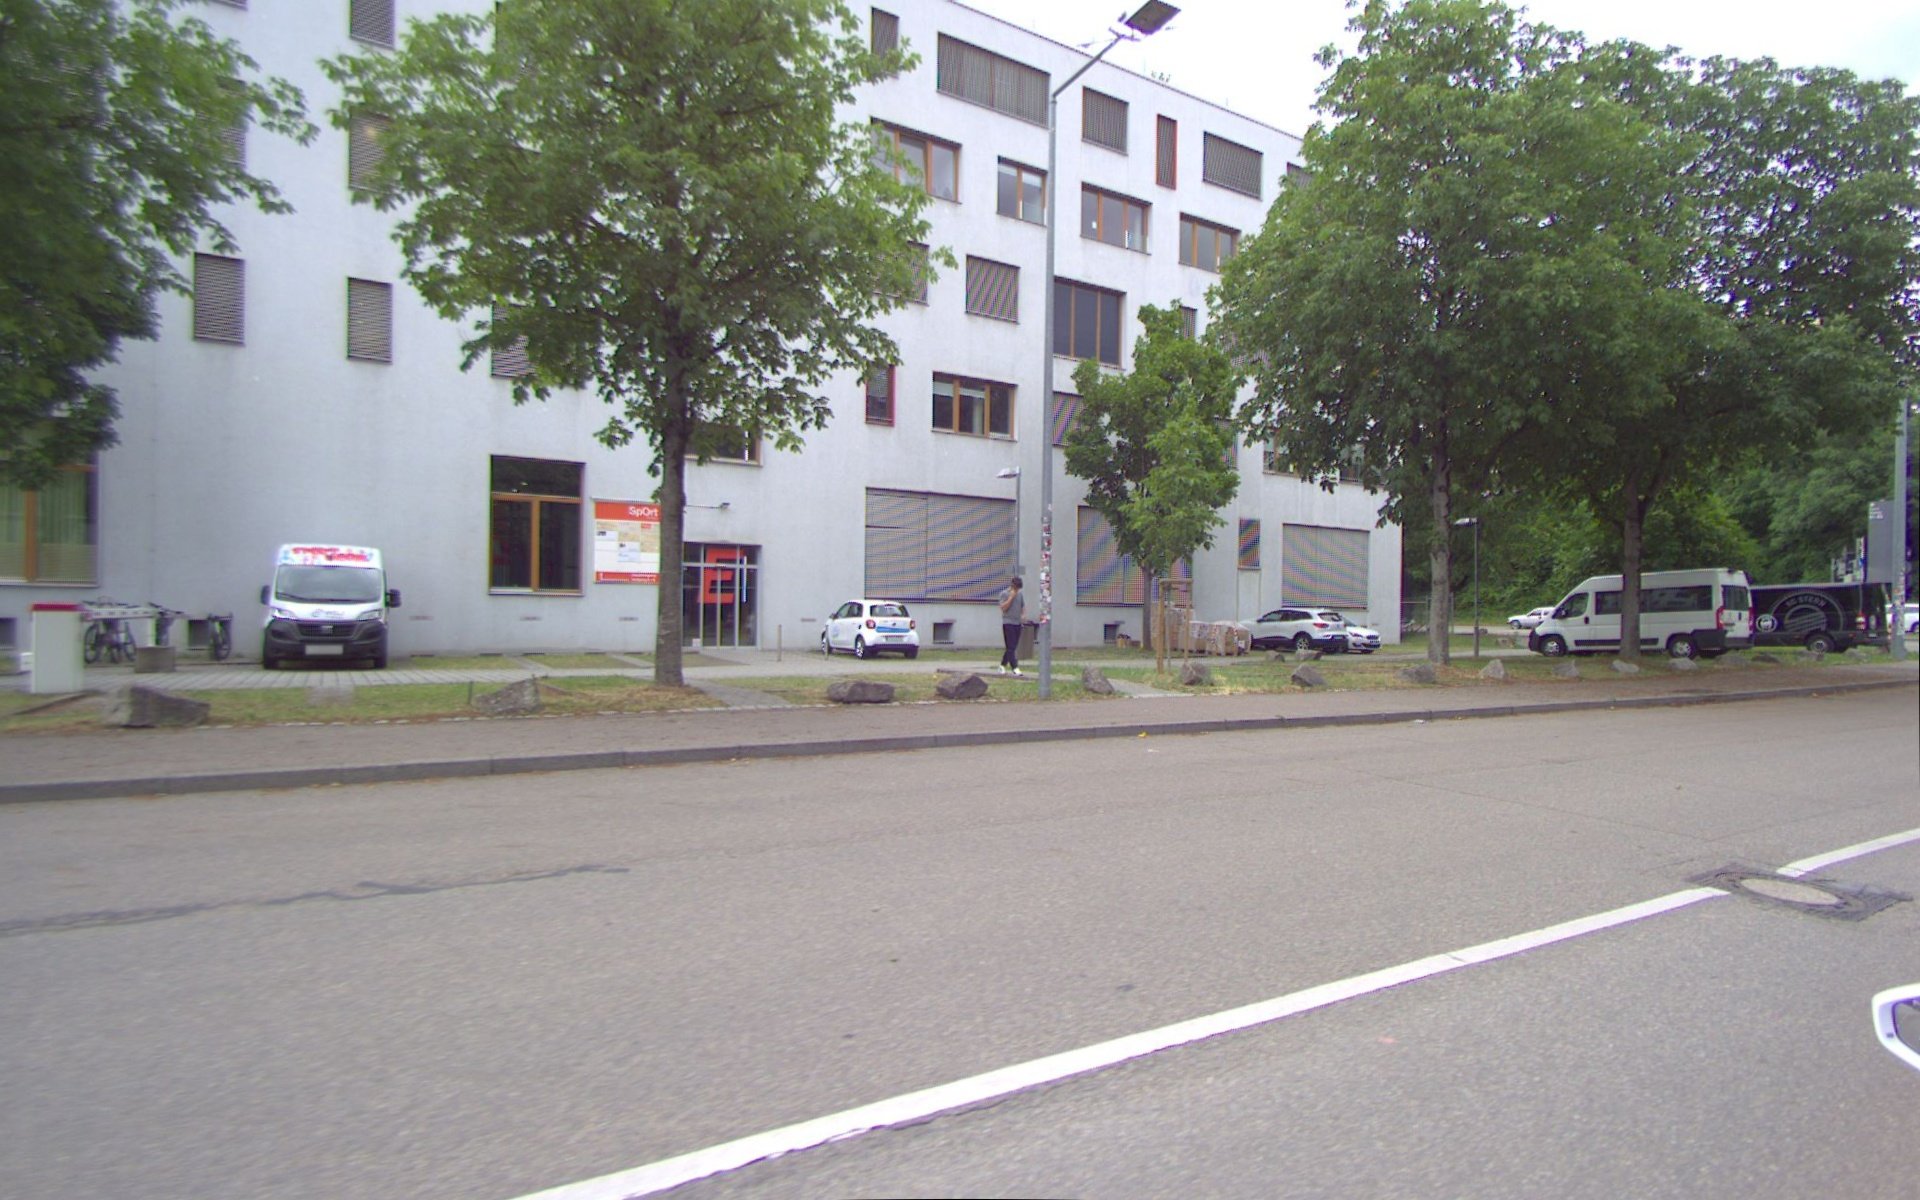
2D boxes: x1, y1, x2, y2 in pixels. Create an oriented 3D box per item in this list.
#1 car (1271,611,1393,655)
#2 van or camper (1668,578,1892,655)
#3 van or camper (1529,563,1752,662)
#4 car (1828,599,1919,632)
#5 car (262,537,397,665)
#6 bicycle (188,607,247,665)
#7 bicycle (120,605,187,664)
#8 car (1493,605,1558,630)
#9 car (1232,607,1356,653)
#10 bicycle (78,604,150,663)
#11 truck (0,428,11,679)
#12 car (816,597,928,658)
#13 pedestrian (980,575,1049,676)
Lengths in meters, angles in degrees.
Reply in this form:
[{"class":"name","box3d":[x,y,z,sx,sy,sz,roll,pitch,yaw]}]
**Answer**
[{"class":"car","box3d":[14.084,1.238,38.231,1.881,1.475,3.972,3,-1,-34]},{"class":"van or camper","box3d":[27.486,0.651,33.936,2.036,2.343,5.513,2,-3,-28]},{"class":"van or camper","box3d":[19.627,0.339,29.226,2.039,2.604,4.943,2,0,-32]},{"class":"car","box3d":[45.375,0.746,48.712,1.881,1.475,4.644,3,-1,-34]},{"class":"car","box3d":[-13.099,0.030,21.110,2.055,2.309,5.598,2,-1,-30]},{"class":"bicycle","box3d":[-15.196,0.720,20.608,0.606,1.084,2.017,2,0,-27]},{"class":"bicycle","box3d":[-16.166,0.676,20.171,0.606,1.084,2.017,2,0,-27]},{"class":"car","box3d":[35.849,1.117,63.781,1.483,1.440,3.285,3,-1,-31]},{"class":"car","box3d":[12.165,1.065,36.774,1.881,1.475,3.972,3,-1,-34]},{"class":"bicycle","box3d":[-16.801,0.648,19.990,0.606,1.084,2.017,2,0,-27]},{"class":"truck","box3d":[-16.901,-0.805,11.504,8.278,3.648,2.660,3,-1,-34]},{"class":"car","box3d":[-2.496,0.714,27.776,1.673,1.520,3.594,3,-1,-30]},{"class":"pedestrian","box3d":[0.938,0.433,17.396,0.779,1.694,0.837,2,0,-36]}]
